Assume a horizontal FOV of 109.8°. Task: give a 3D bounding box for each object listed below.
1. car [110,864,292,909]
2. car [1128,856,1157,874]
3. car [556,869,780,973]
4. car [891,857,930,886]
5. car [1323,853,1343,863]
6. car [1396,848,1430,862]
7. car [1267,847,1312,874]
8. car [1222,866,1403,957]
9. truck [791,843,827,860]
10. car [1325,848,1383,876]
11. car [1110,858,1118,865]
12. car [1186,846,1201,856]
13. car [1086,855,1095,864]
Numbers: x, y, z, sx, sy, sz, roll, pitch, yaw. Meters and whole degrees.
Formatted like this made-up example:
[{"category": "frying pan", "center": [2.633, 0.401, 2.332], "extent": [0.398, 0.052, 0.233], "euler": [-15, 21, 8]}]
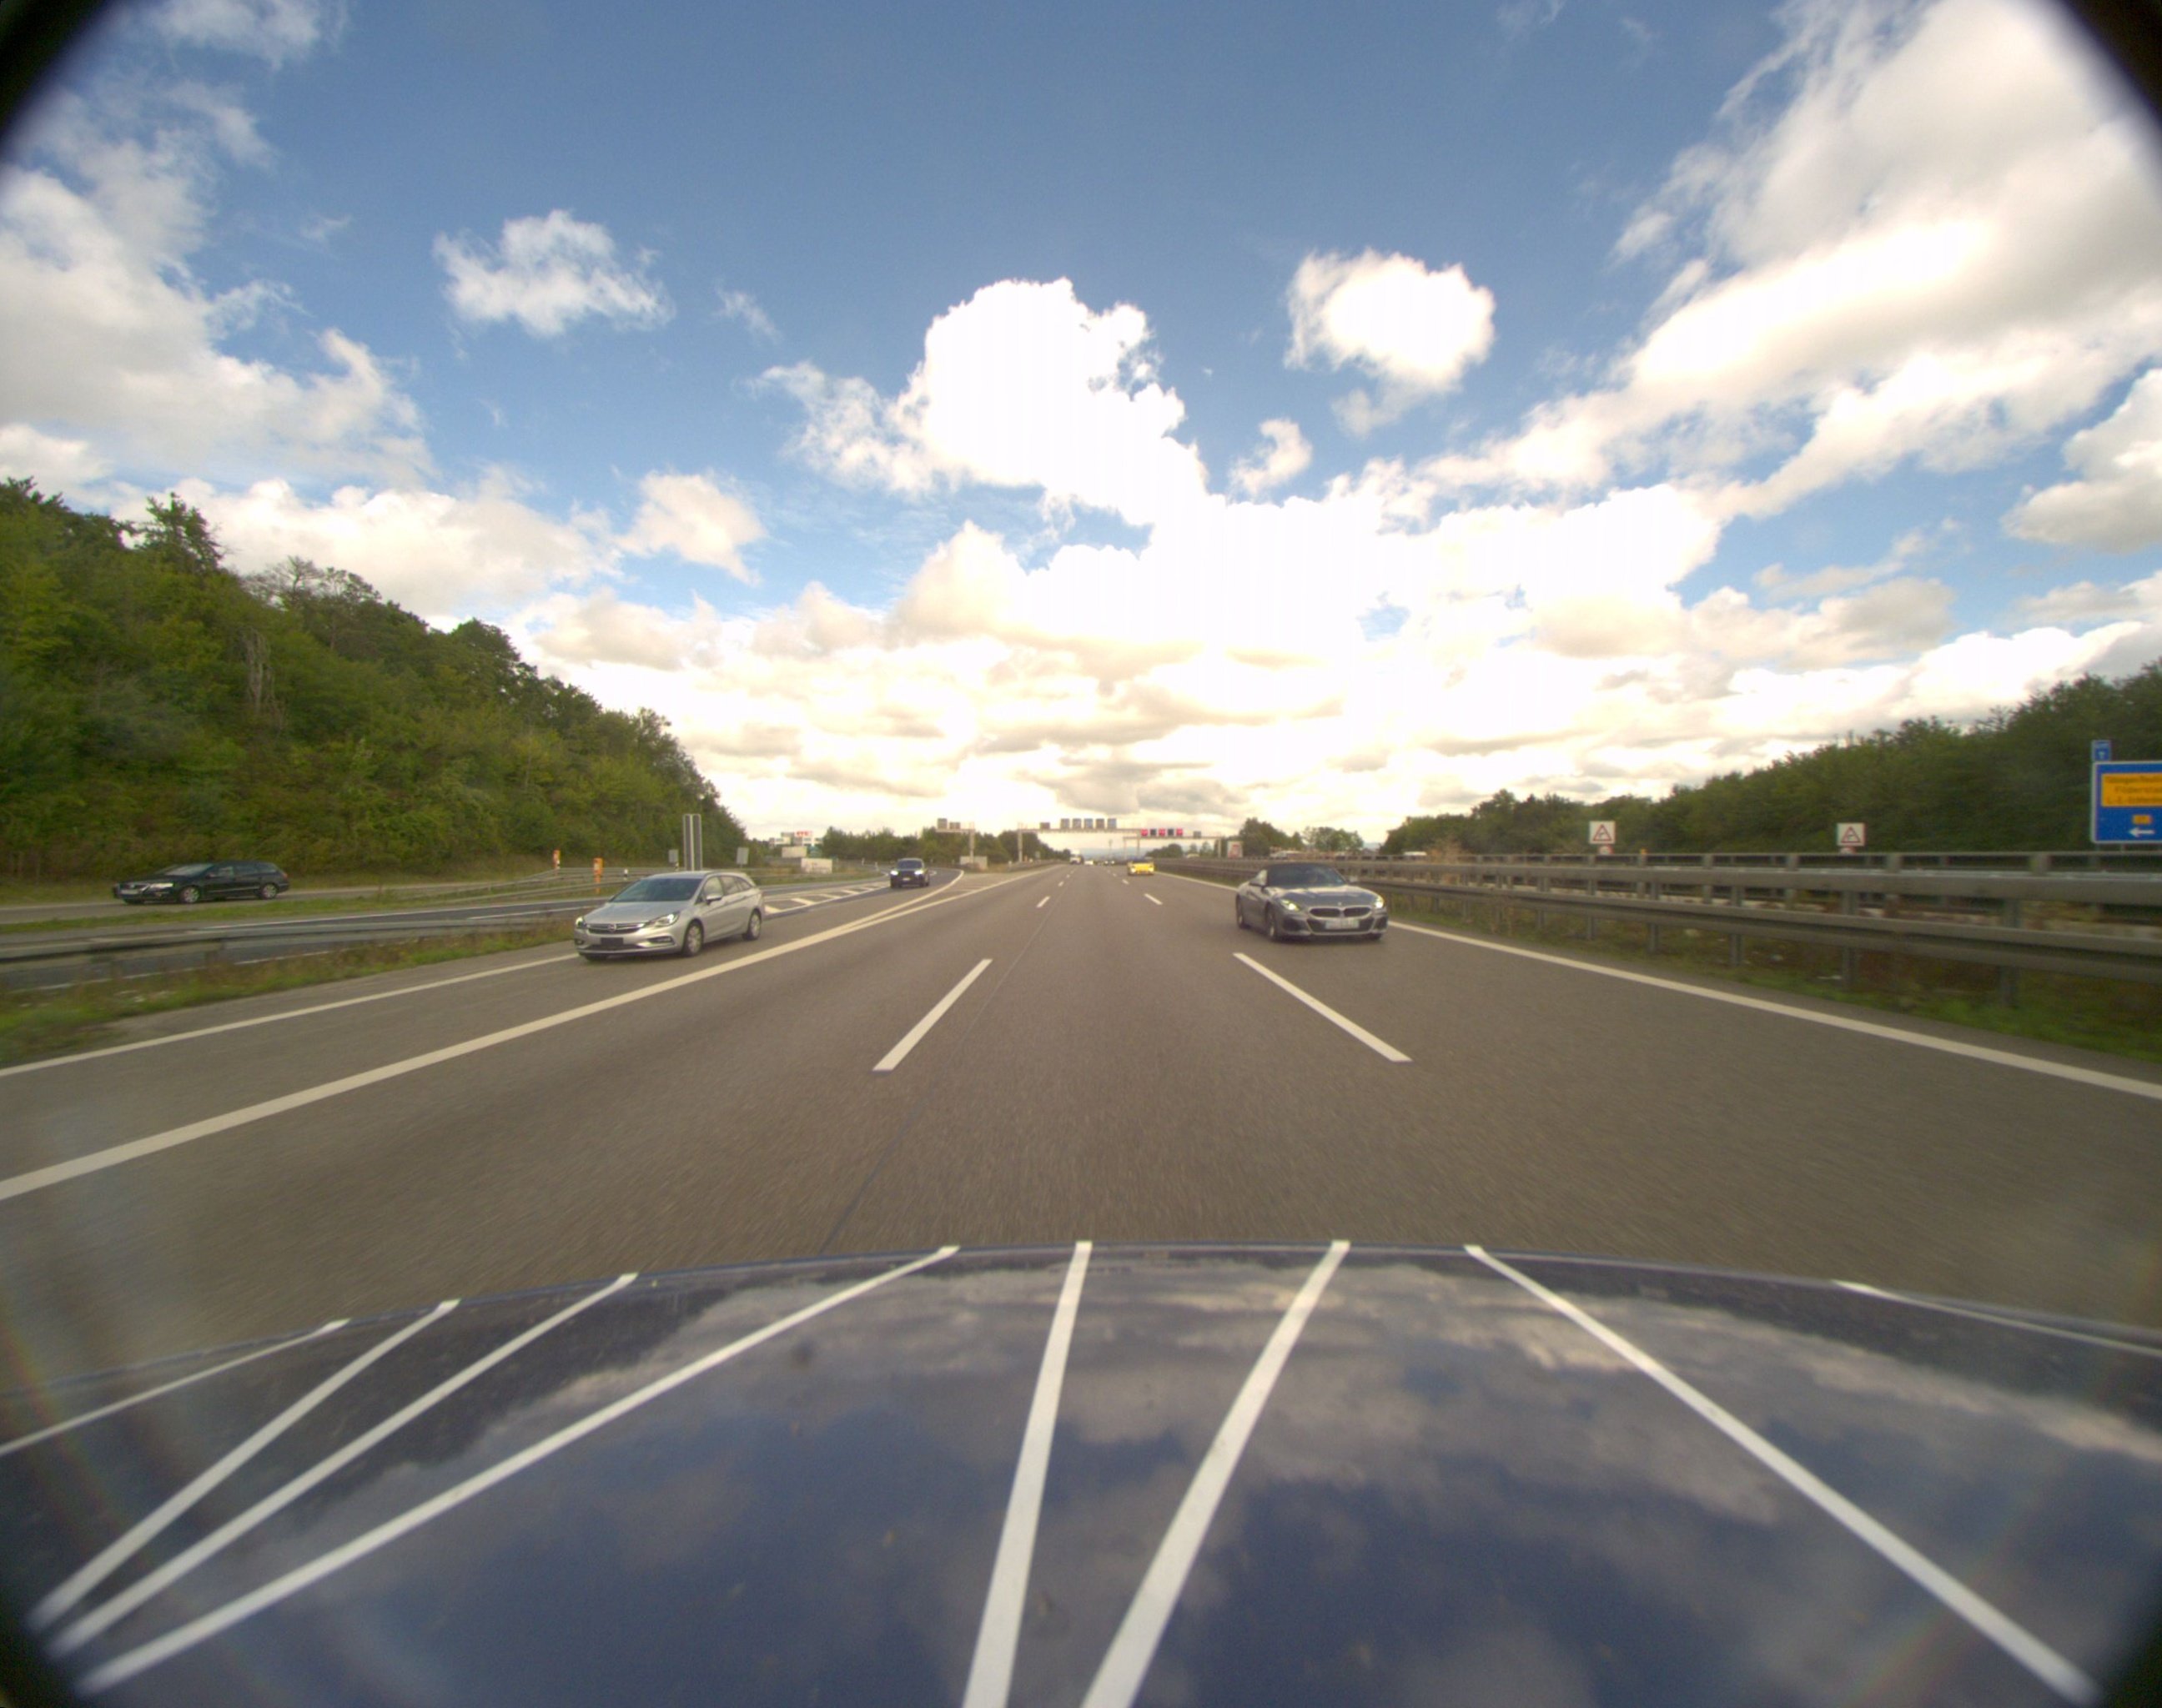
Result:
[{"category": "car", "center": [-30.797, 1.073, 26.807], "extent": [1.717, 1.407, 4.167], "euler": [-1, 0, -4]}, {"category": "car", "center": [4.680, 0.799, 58.374], "extent": [1.811, 1.307, 4.247], "euler": [1, 0, 0]}, {"category": "car", "center": [-7.357, 1.095, 14.171], "extent": [1.688, 1.476, 4.615], "euler": [-1, 0, -1]}, {"category": "car", "center": [-10.213, 1.011, 45.882], "extent": [1.877, 1.626, 4.855], "euler": [-1, 0, -8]}, {"category": "car", "center": [42.047, 0.697, 126.921], "extent": [1.815, 1.626, 5.009], "euler": [-1, 0, 2]}, {"category": "car", "center": [39.437, 0.092, 90.385], "extent": [1.775, 1.568, 5.011], "euler": [-1, 0, 0]}, {"category": "car", "center": [13.095, 0.388, 48.006], "extent": [1.679, 1.568, 4.173], "euler": [0, 0, 0]}, {"category": "car", "center": [4.052, 0.930, 14.261], "extent": [1.878, 1.295, 4.942], "euler": [-1, 0, 0]}, {"category": "truck", "center": [-66.938, -0.633, 186.871], "extent": [2.976, 3.775, 13.424], "euler": [-2, 0, -43]}, {"category": "car", "center": [17.145, 0.476, 47.971], "extent": [1.815, 1.626, 5.008], "euler": [-1, 0, 0]}, {"category": "car", "center": [6.638, 1.501, 153.371], "extent": [1.593, 1.307, 3.978], "euler": [1, 0, 0]}, {"category": "car", "center": [17.890, -0.486, 121.110], "extent": [1.815, 1.626, 5.008], "euler": [-1, 0, 2]}, {"category": "car", "center": [1.942, 1.098, 150.928], "extent": [1.737, 1.608, 4.000], "euler": [-1, 0, 0]}]
